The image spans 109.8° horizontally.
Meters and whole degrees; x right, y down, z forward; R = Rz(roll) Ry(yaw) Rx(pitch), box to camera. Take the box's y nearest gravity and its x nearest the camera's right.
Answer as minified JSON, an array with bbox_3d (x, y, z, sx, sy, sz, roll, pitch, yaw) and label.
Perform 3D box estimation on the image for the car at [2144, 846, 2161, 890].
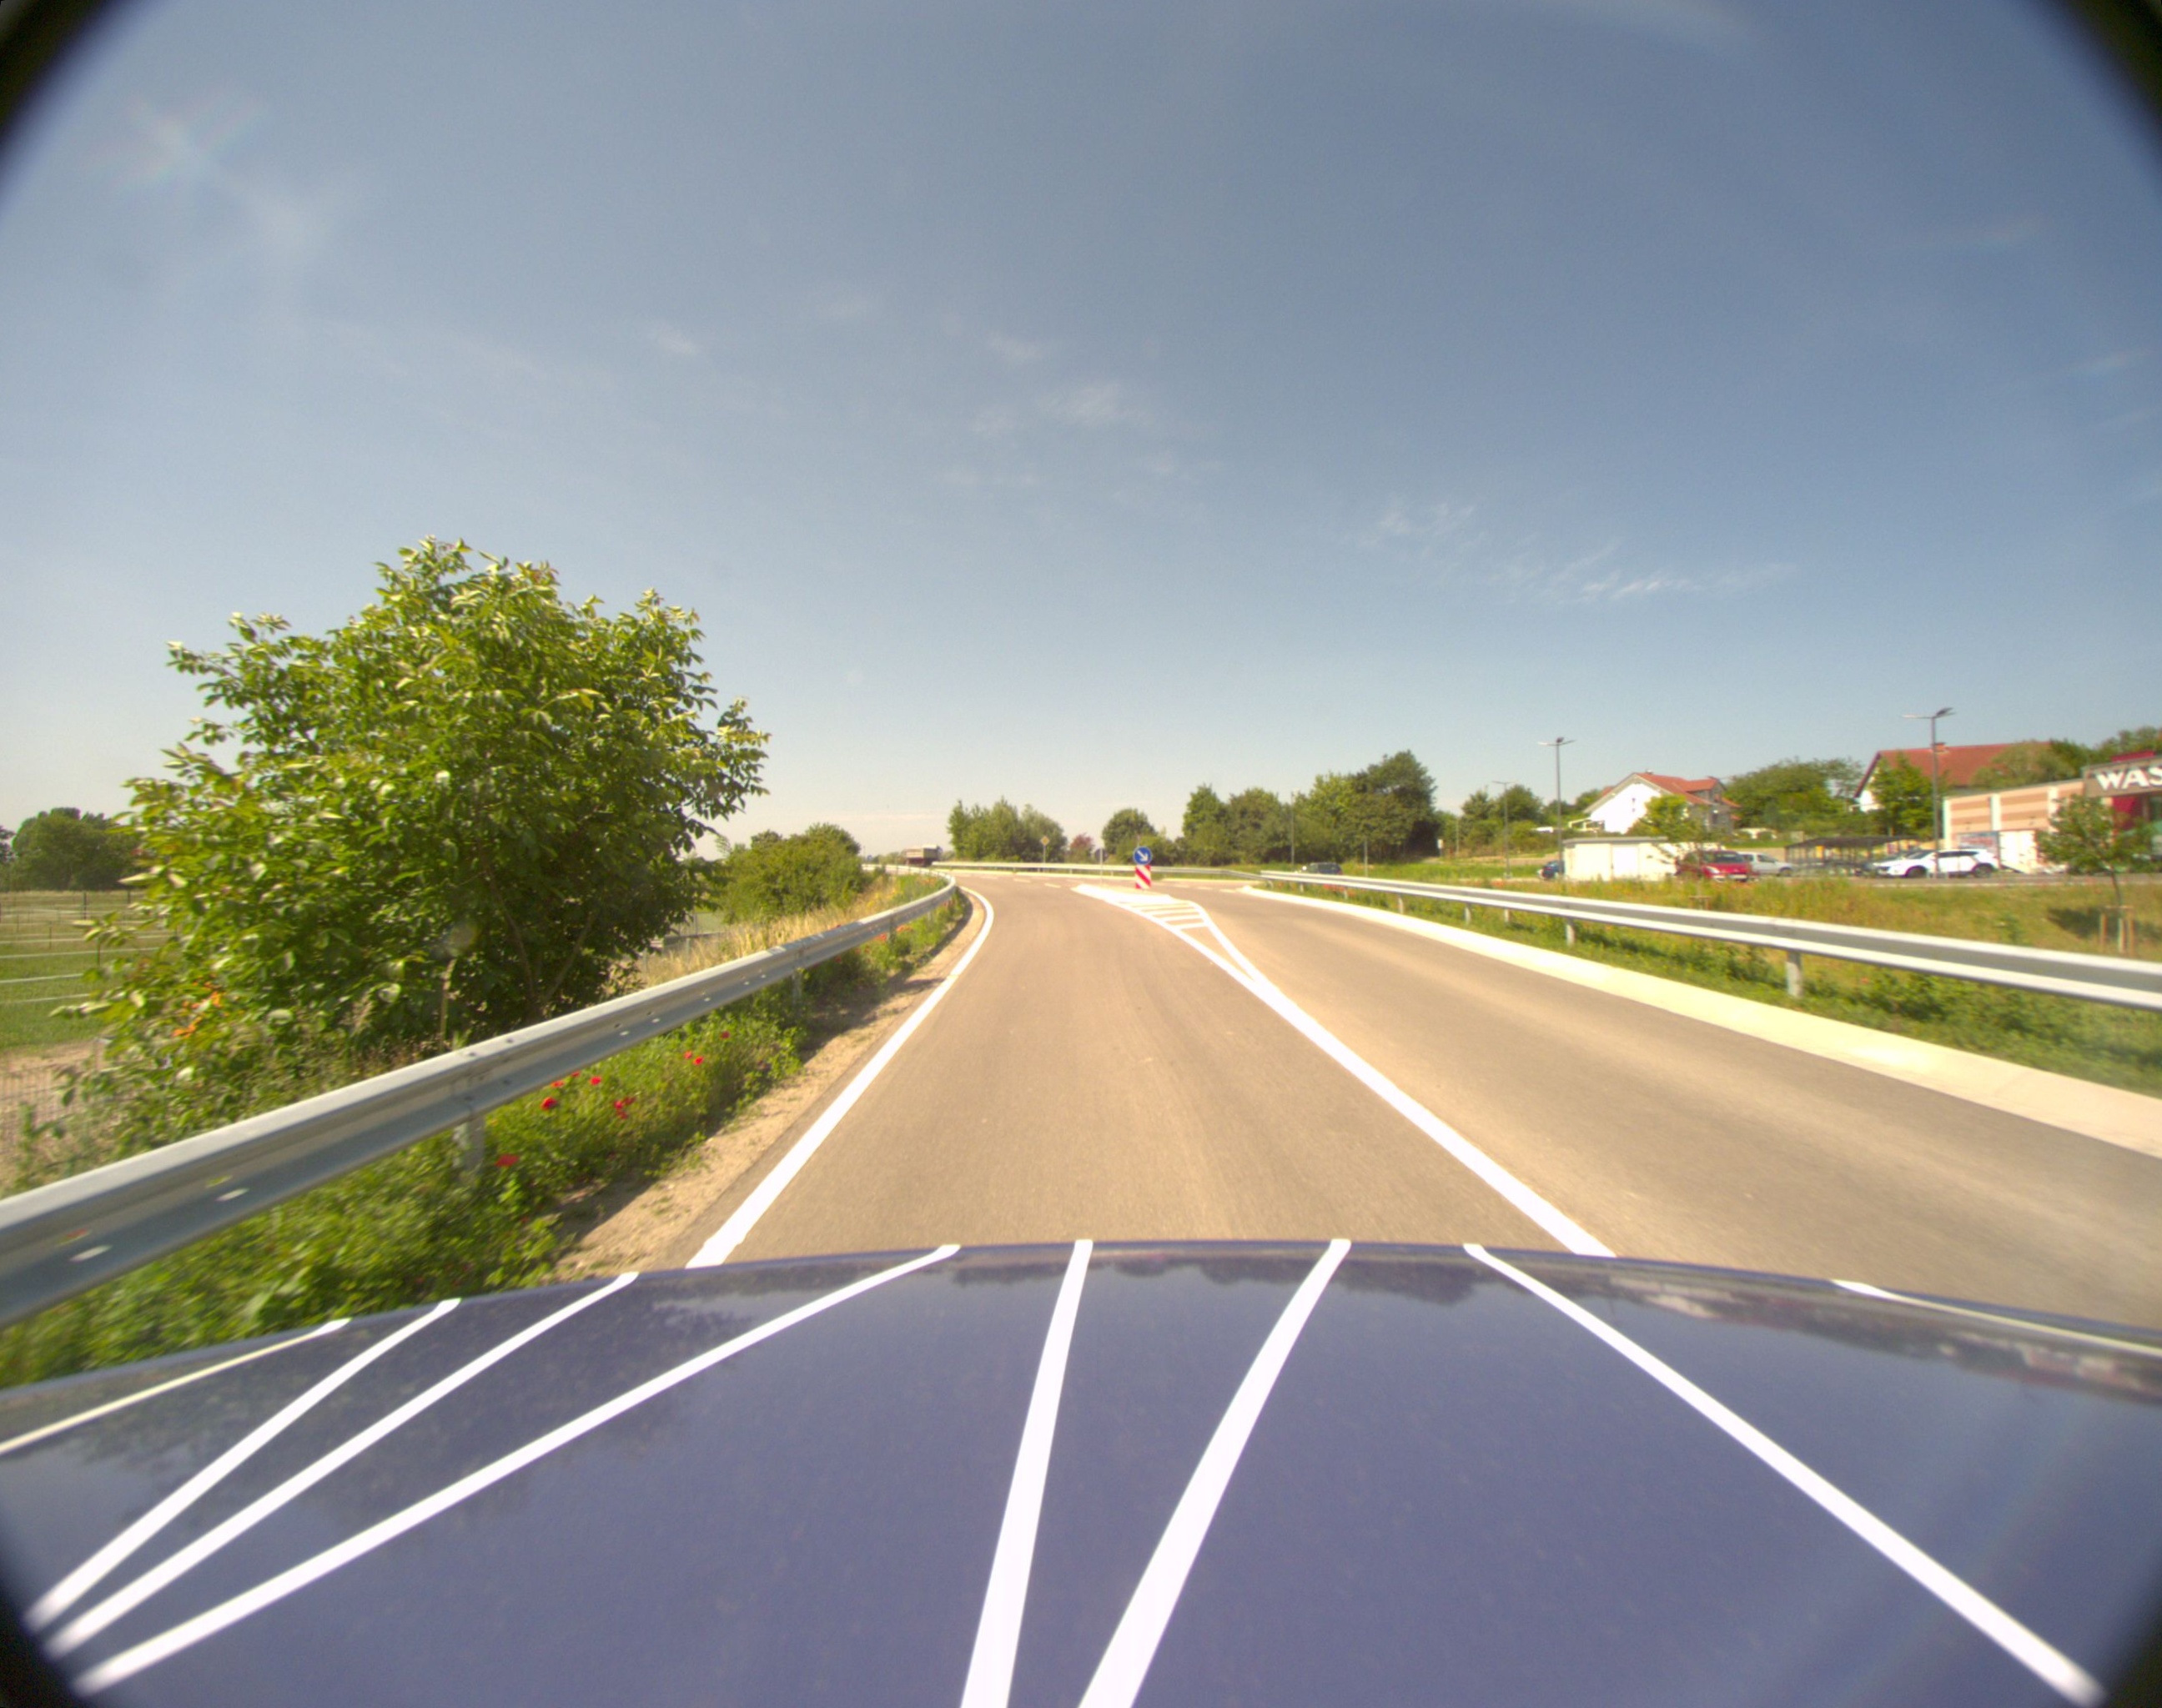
[{"bbox_3d":[43.304,0.548,28.477,1.996,1.750,4.005,-1,0,17],"label":"car"}]

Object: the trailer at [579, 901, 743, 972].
[{"bbox_3d":[-17.900,3.414,32.854,2.576,2.366,6.059,-1,0,17],"label":"trailer"}]

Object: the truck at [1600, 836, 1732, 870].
[{"bbox_3d":[58.391,-0.104,76.047,10.706,3.173,2.448,-1,1,7],"label":"truck"}]

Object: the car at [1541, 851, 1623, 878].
[{"bbox_3d":[33.467,0.728,50.910,4.323,1.694,2.003,-1,1,24],"label":"car"}]

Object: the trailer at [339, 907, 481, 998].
[{"bbox_3d":[-22.940,3.291,26.017,3.413,2.788,2.168,-1,0,19],"label":"trailer"}]

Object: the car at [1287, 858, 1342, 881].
[{"bbox_3d":[18.999,1.254,61.793,4.187,1.694,2.002,-1,1,20],"label":"car"}]

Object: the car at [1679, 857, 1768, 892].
[{"bbox_3d":[26.689,0.828,31.722,1.621,1.281,3.678,-1,0,19],"label":"car"}]

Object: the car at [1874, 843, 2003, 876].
[{"bbox_3d":[47.650,0.301,42.360,4.323,1.694,2.003,-1,1,21],"label":"car"}]

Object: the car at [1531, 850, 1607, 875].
[{"bbox_3d":[35.538,0.599,55.462,4.324,1.694,2.002,-1,1,18],"label":"car"}]

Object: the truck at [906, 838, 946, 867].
[{"bbox_3d":[-20.211,-0.259,99.597,2.822,3.519,8.194,-1,1,4],"label":"truck"}]

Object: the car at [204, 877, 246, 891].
[{"bbox_3d":[-140.328,4.948,124.541,1.994,2.002,4.300,-1,1,36],"label":"car"}]

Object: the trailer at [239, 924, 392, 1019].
[{"bbox_3d":[-22.531,3.356,22.346,4.083,2.376,2.010,-3,-1,28],"label":"trailer"}]

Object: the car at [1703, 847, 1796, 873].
[{"bbox_3d":[45.633,0.409,51.976,4.324,1.588,2.002,-1,1,20],"label":"car"}]
